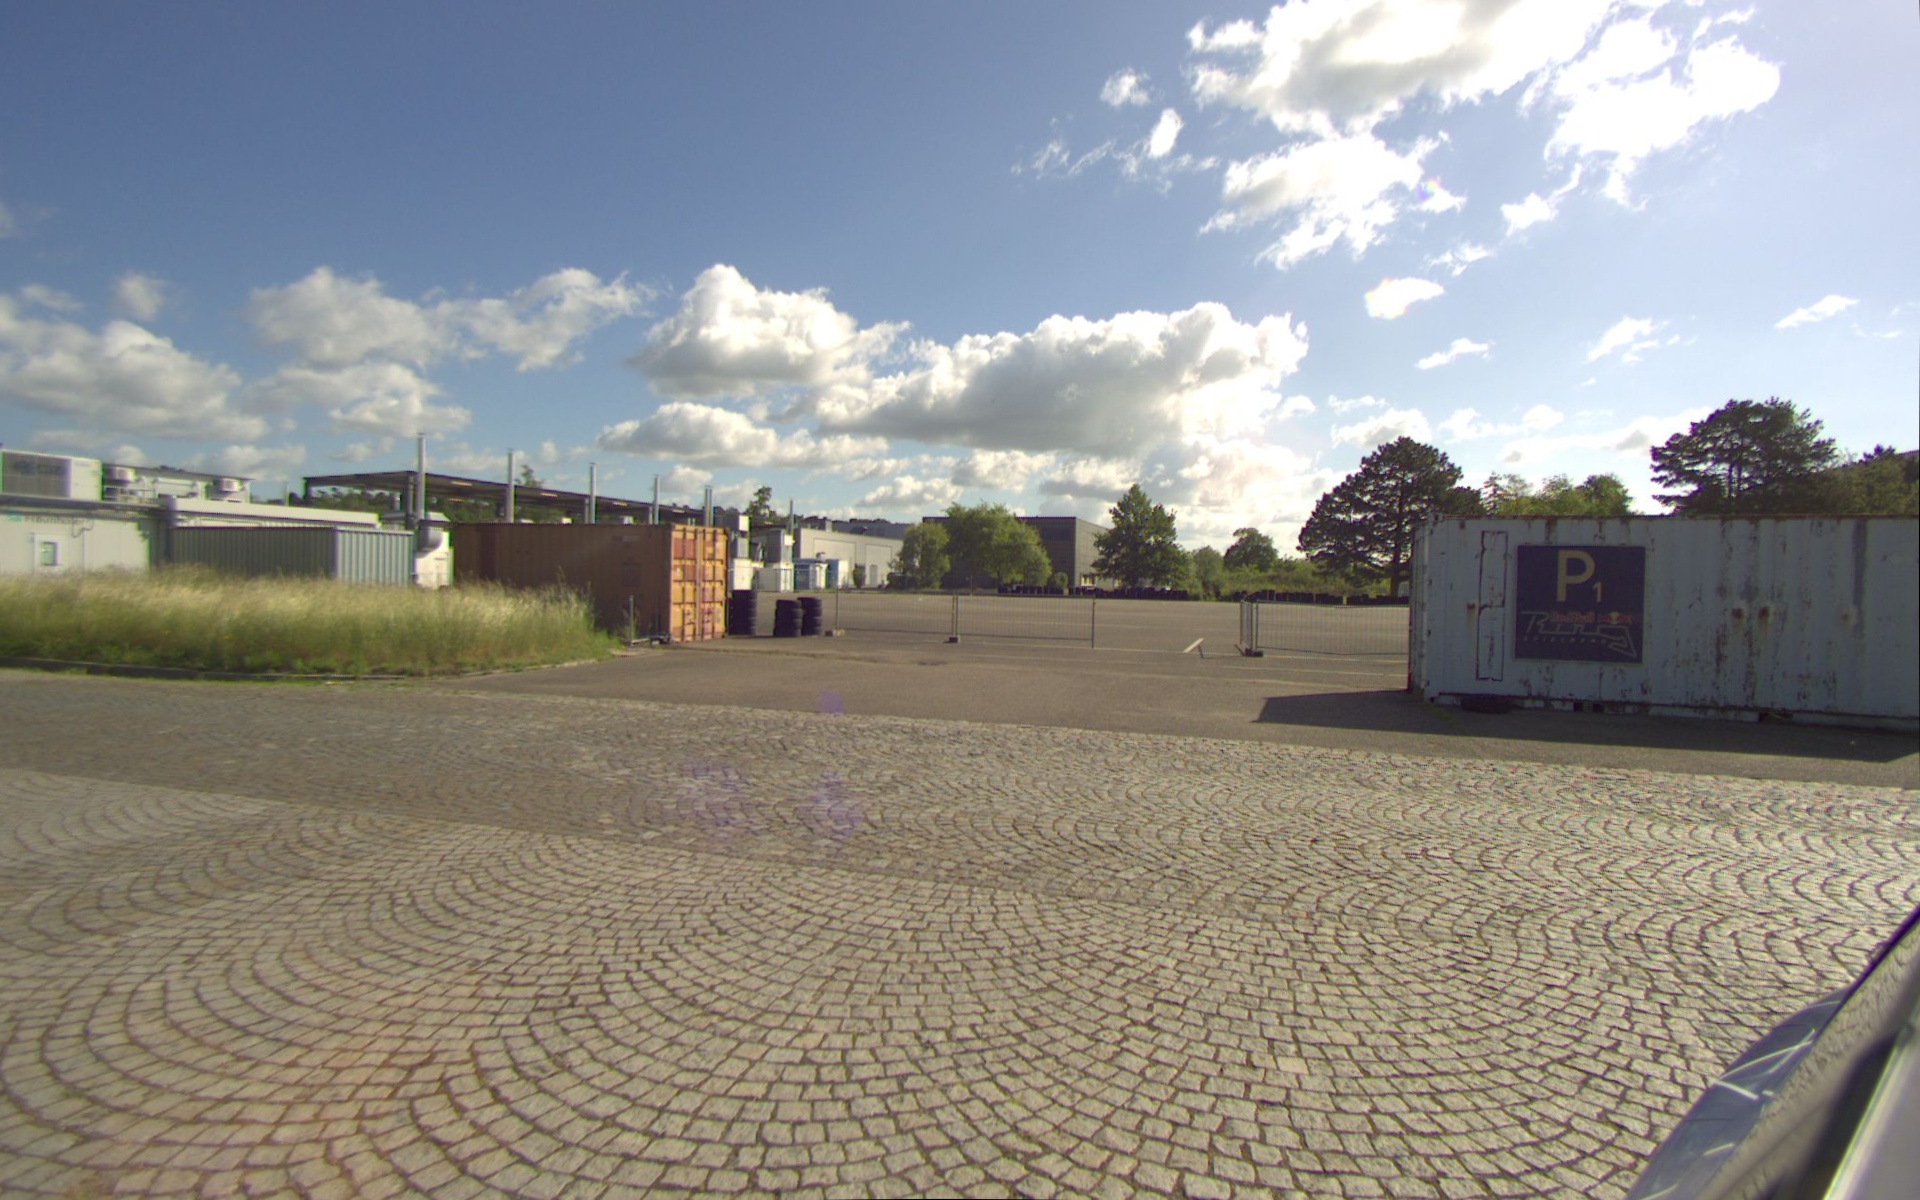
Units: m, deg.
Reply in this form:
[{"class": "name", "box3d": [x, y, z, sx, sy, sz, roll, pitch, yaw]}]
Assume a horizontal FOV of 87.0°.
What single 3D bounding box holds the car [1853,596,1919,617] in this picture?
[{"class": "car", "box3d": [77.756, 0.516, 84.739, 3.942, 1.602, 1.991, 1, 1, 15]}]
